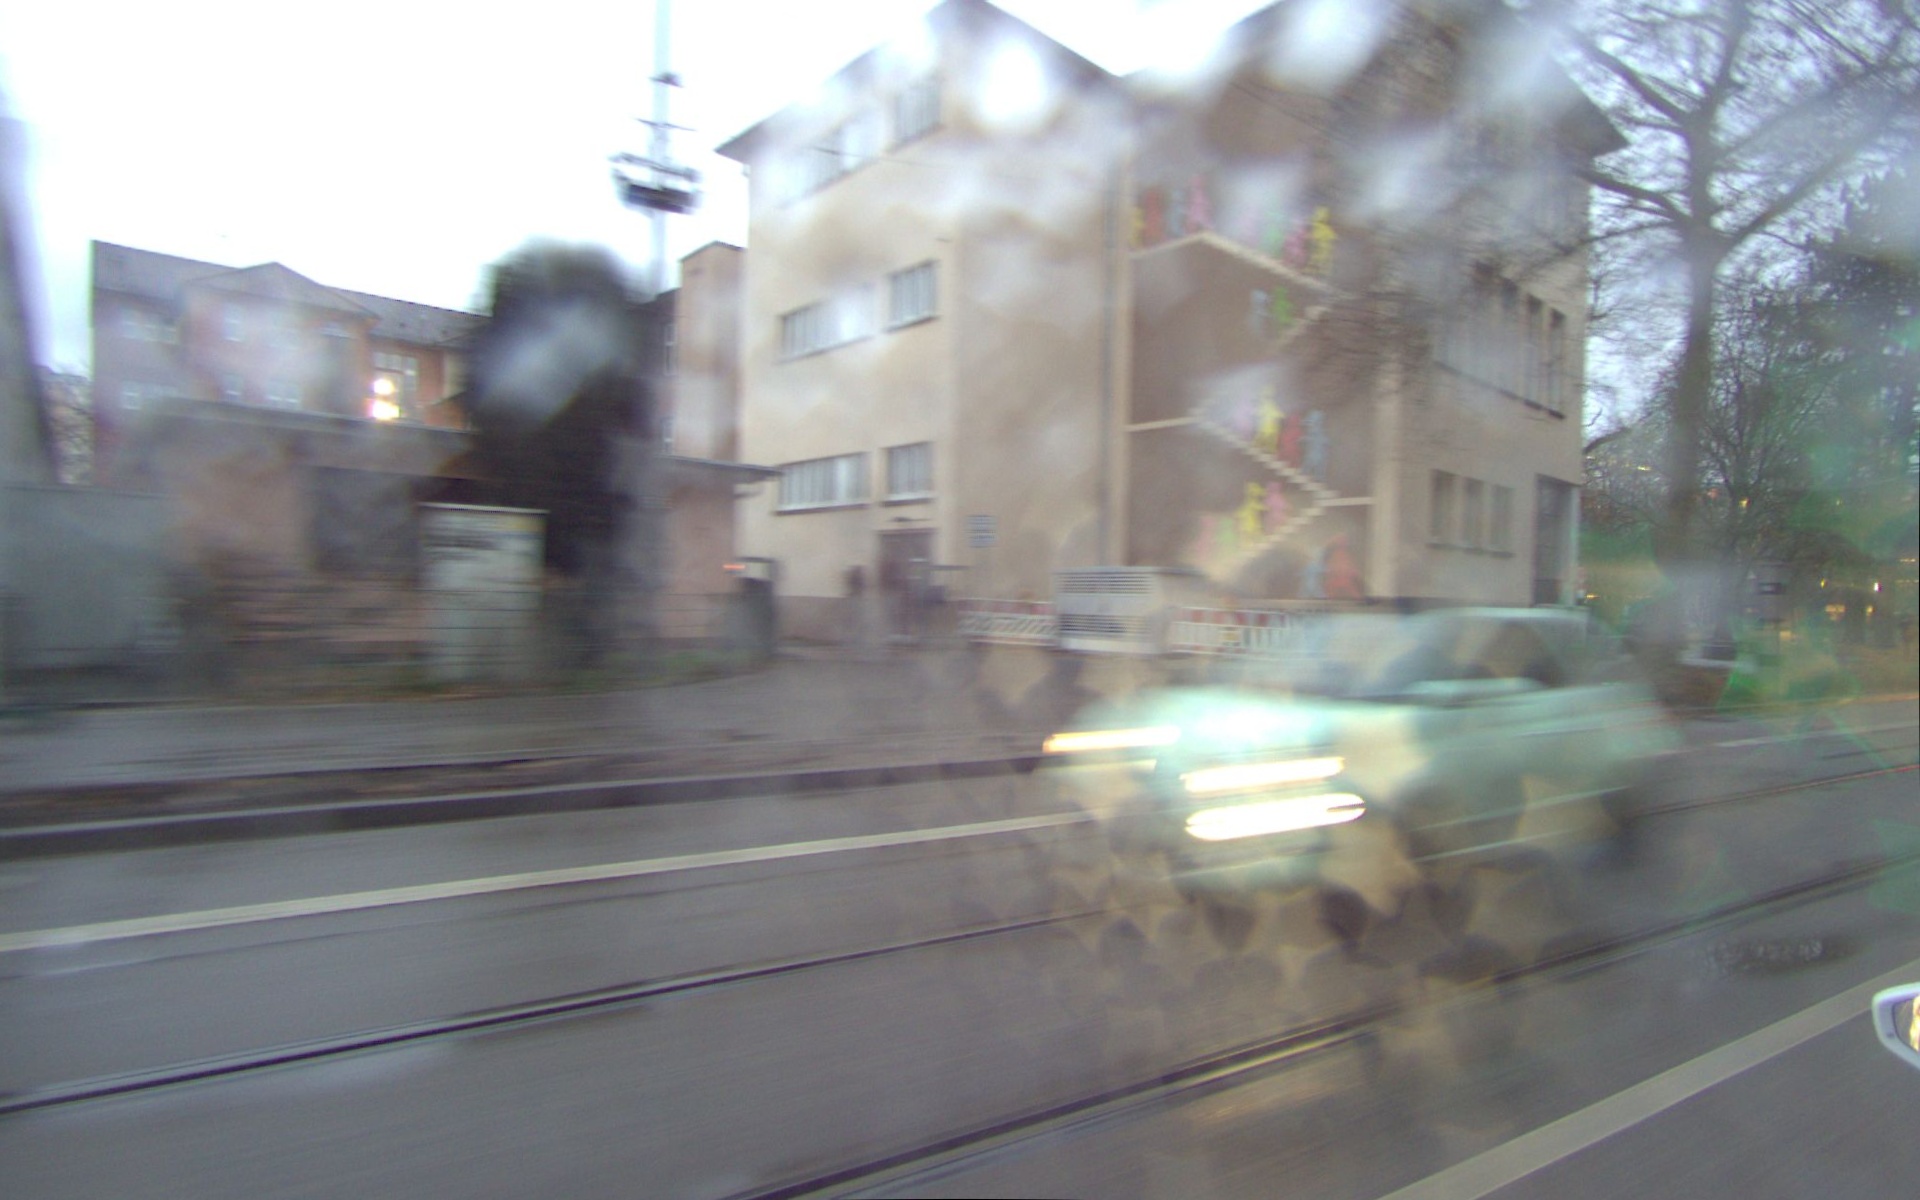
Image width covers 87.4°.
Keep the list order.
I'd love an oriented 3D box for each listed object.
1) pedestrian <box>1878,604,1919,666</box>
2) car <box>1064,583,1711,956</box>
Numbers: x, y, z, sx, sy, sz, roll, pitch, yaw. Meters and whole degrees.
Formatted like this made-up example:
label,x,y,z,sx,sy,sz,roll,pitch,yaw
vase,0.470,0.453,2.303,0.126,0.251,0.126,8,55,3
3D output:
label,x,y,z,sx,sy,sz,roll,pitch,yaw
pedestrian,28.590,1.055,30.411,0.996,1.839,0.817,1,1,-27
car,2.459,0.706,5.603,3.519,1.501,1.522,1,0,-30
